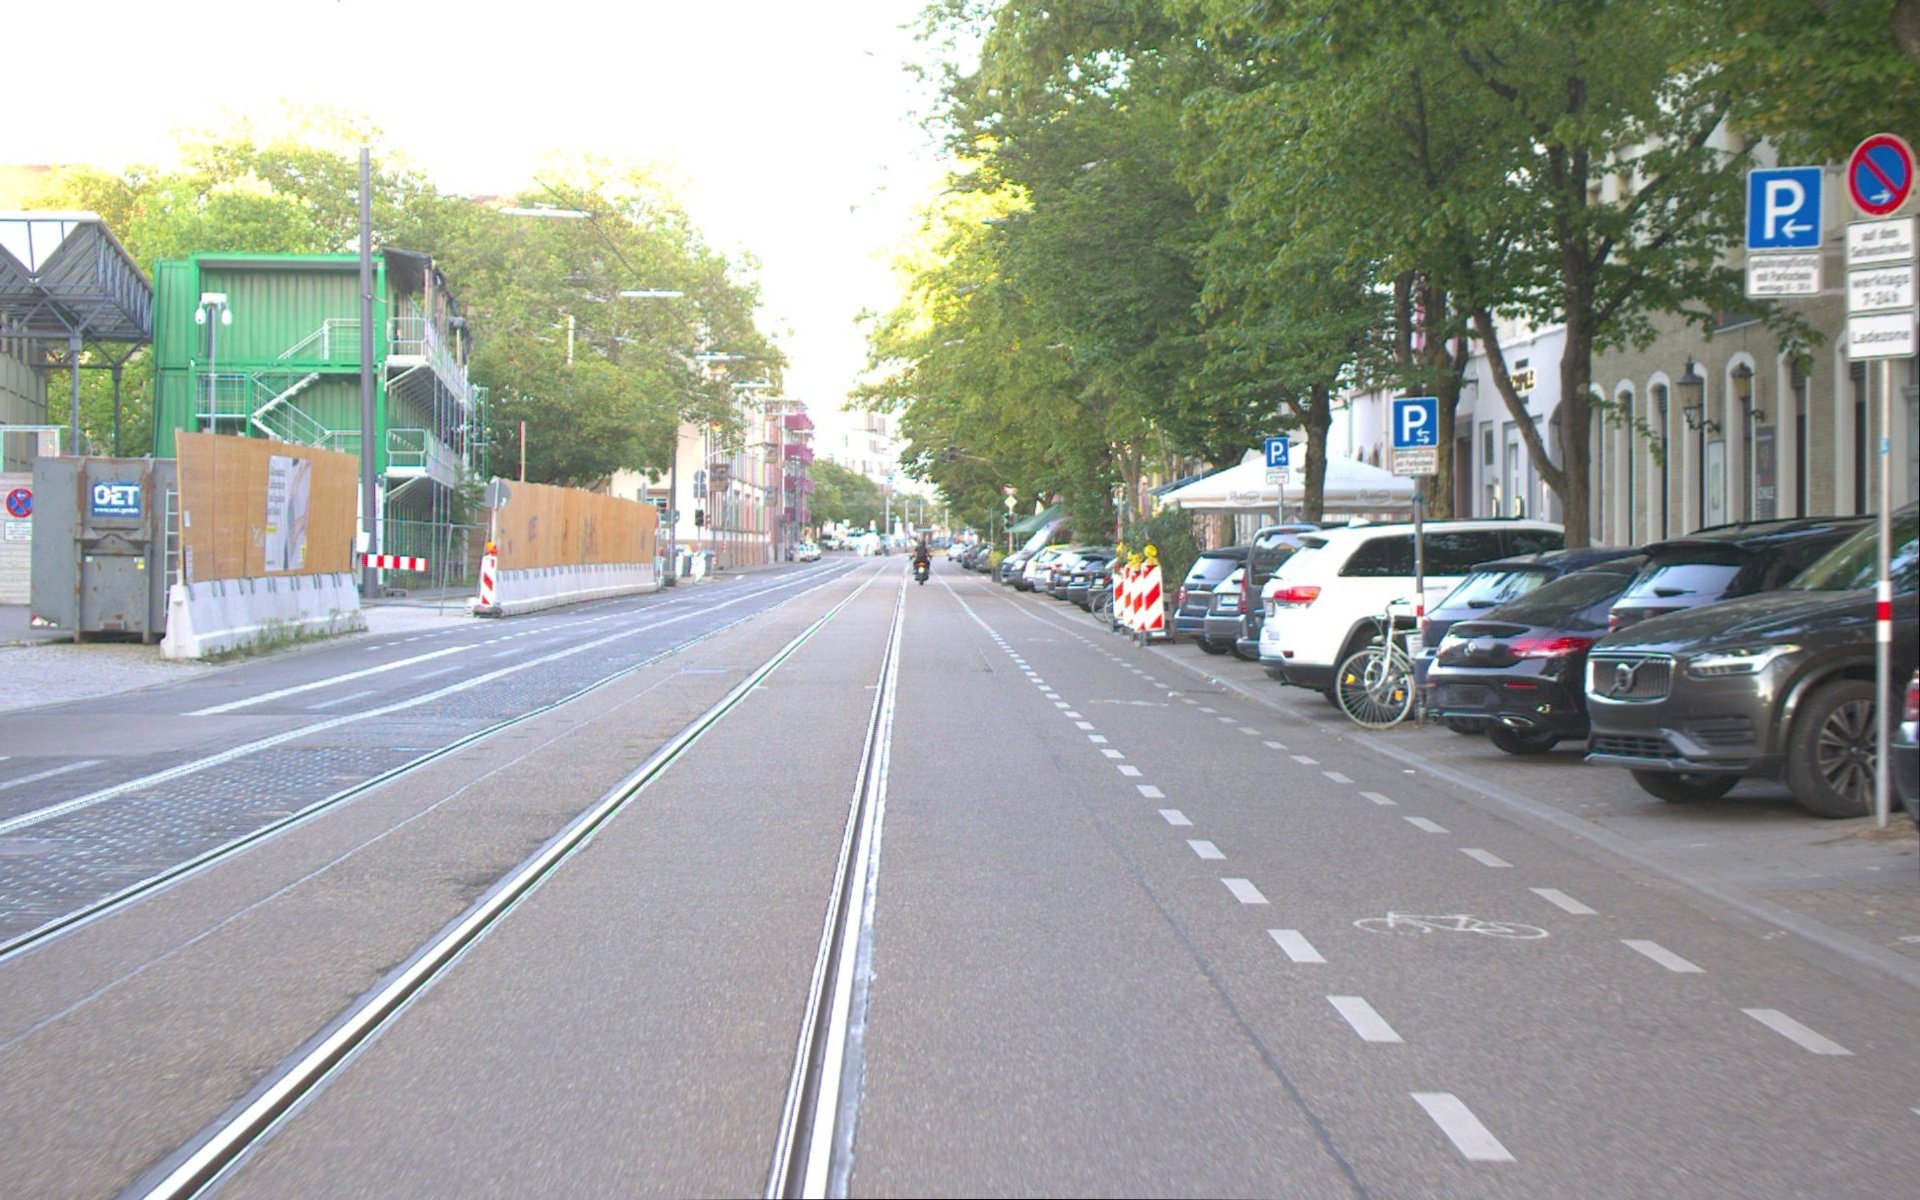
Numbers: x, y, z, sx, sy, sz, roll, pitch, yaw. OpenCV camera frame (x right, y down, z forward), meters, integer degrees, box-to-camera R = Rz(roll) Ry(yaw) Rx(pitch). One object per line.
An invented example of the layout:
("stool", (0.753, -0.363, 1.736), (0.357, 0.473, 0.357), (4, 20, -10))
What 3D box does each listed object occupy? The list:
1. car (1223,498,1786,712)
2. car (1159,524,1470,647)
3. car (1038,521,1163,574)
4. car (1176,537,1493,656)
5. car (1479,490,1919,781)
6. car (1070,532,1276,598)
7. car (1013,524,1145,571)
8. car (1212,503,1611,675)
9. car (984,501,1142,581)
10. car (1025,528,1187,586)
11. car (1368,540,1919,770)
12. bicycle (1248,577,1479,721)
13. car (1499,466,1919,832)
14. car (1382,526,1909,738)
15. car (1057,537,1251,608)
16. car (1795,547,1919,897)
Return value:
("car", (4.847, 0.020, 31.058), (4.648, 1.682, 2.008), (-2, 1, -3))
("car", (4.930, -0.211, 47.767), (3.961, 1.548, 1.706), (-2, 1, -26))
("car", (4.548, -1.704, 111.827), (3.950, 1.614, 1.921), (-2, 0, 0))
("car", (4.928, -0.062, 45.164), (3.772, 1.403, 1.706), (-2, 1, -26))
("car", (5.730, 0.144, 22.158), (4.211, 1.643, 1.977), (-3, 1, -19))
("car", (4.710, -0.792, 76.066), (4.160, 1.421, 1.824), (0, 1, -19))
("car", (4.012, -1.765, 115.665), (3.950, 1.481, 1.921), (-2, 0, -24))
("car", (5.222, -0.153, 39.722), (4.147, 1.800, 2.008), (-2, 1, -29))
("car", (3.597, -2.078, 120.386), (5.093, 2.633, 2.022), (-2, 1, -17))
("car", (4.167, -1.227, 98.400), (4.249, 1.543, 2.020), (-1, 1, -11))
("car", (5.263, 0.337, 24.493), (4.211, 1.422, 1.976), (-2, 1, -22))
("bicycle", (3.409, 0.403, 29.056), (1.835, 1.099, 0.498), (-3, 2, -14))
("car", (5.820, 0.140, 19.408), (4.962, 1.820, 2.209), (-3, 1, -19))
("car", (5.441, 0.218, 27.269), (3.746, 1.421, 1.728), (-3, 1, -25))
("car", (4.564, -0.654, 80.973), (4.115, 1.465, 1.824), (-3, 1, -18))
("car", (5.997, 0.419, 15.255), (4.154, 1.460, 1.972), (-3, 1, -28))
